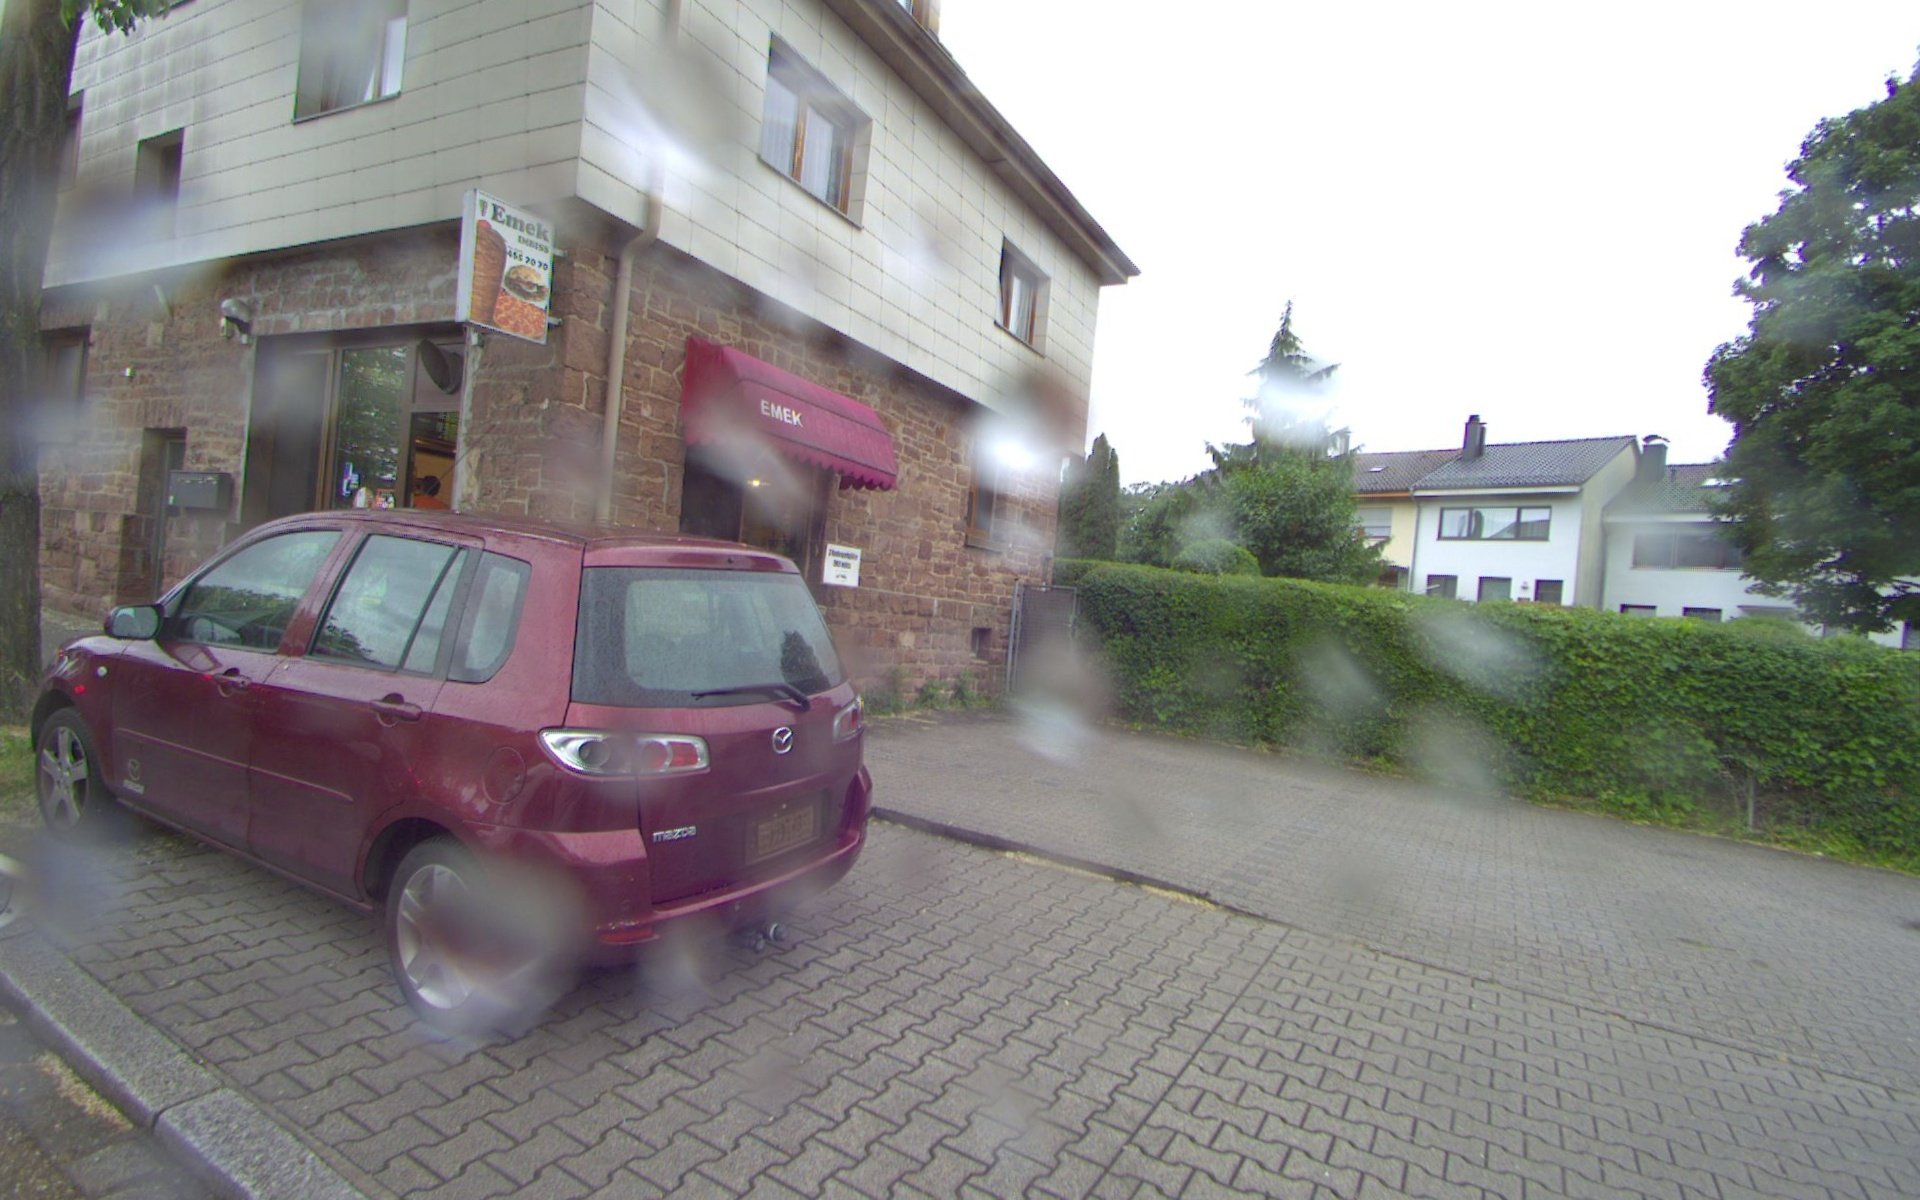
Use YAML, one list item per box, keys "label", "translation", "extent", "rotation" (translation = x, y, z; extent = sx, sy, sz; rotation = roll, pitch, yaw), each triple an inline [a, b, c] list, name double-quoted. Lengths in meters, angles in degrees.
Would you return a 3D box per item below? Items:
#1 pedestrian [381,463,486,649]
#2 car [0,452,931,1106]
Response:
- label: "pedestrian"
  translation: [-5.539, -0.447, 10.595]
  extent: [0.475, 1.862, 0.638]
  rotation: [7, 0, 31]
- label: "car"
  translation: [-2.110, 0.352, 4.075]
  extent: [3.565, 1.511, 1.585]
  rotation: [7, 3, 29]
